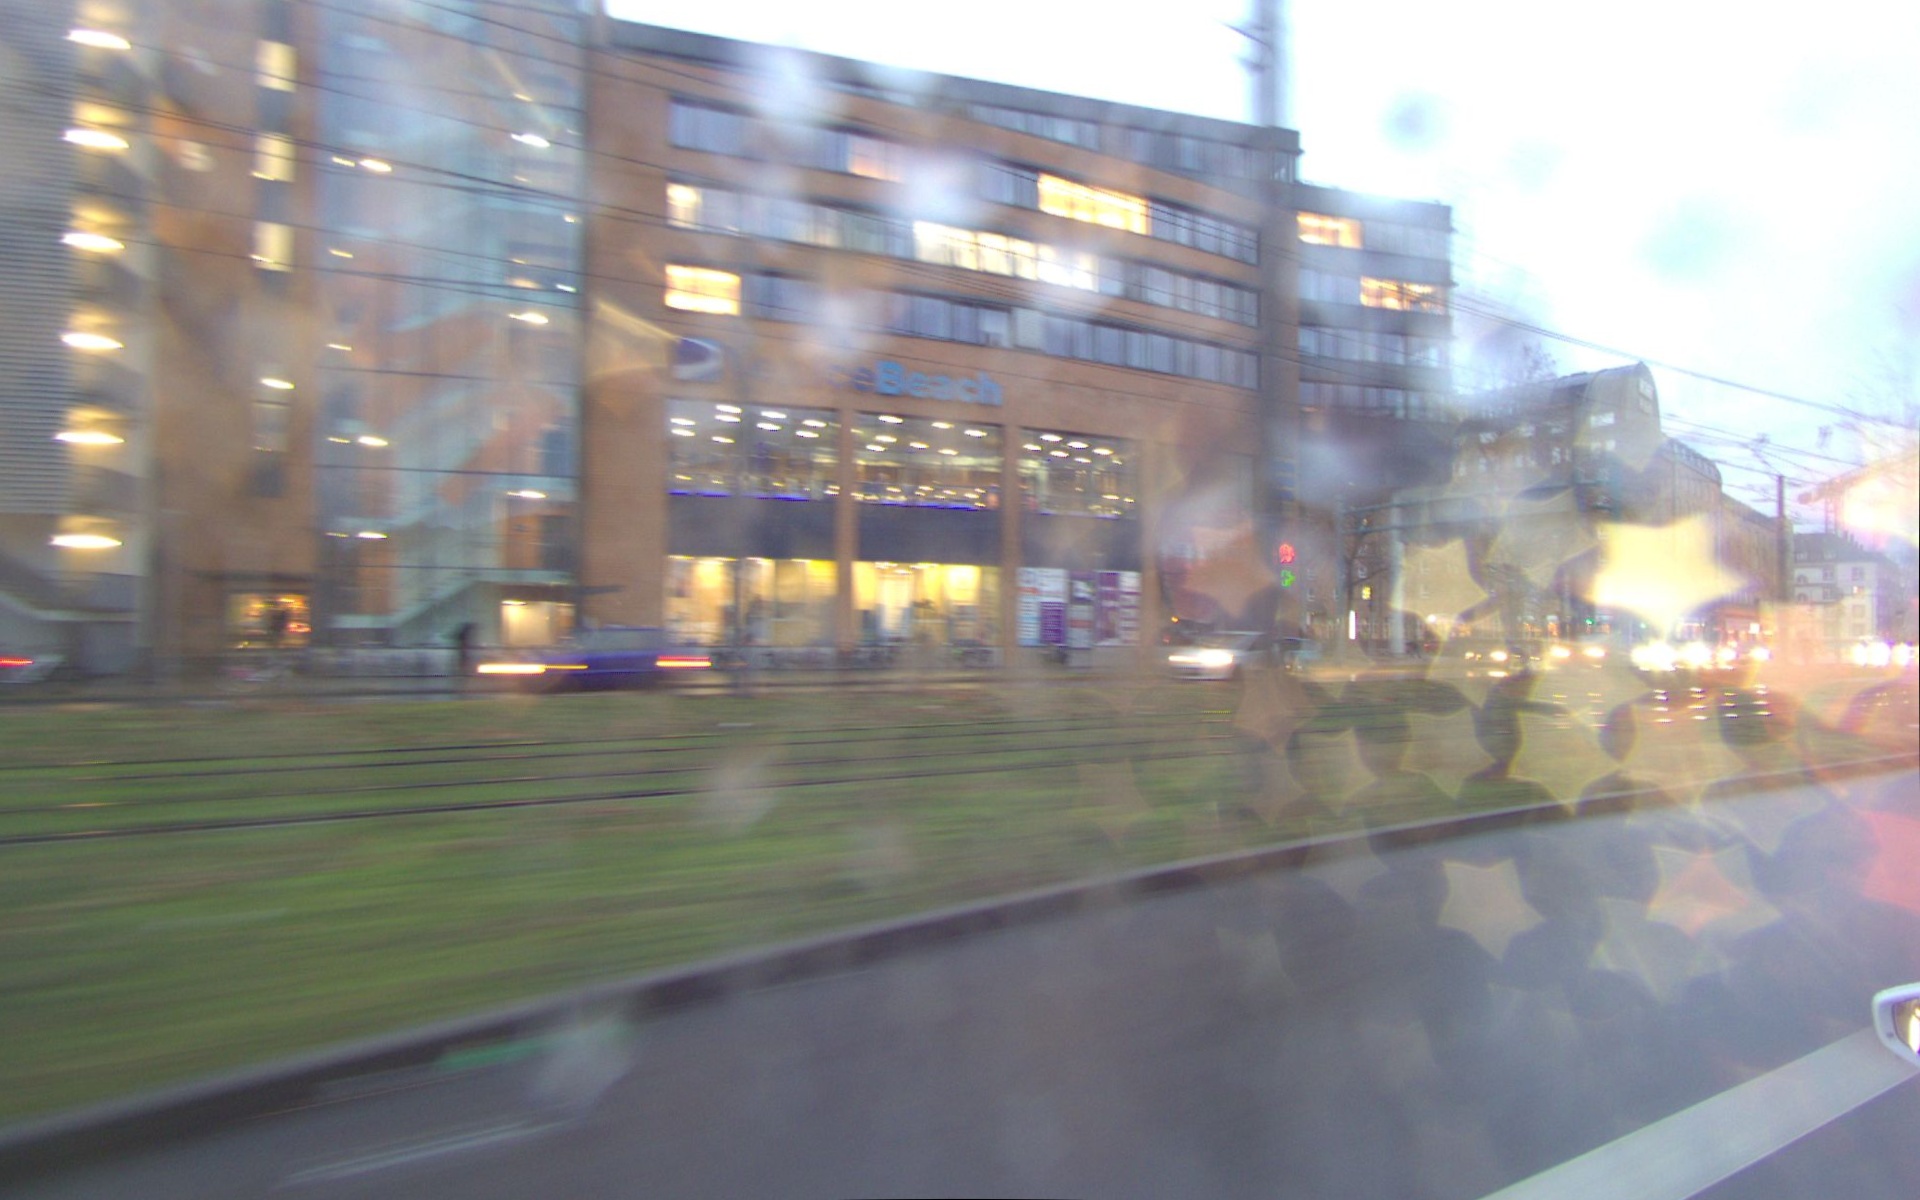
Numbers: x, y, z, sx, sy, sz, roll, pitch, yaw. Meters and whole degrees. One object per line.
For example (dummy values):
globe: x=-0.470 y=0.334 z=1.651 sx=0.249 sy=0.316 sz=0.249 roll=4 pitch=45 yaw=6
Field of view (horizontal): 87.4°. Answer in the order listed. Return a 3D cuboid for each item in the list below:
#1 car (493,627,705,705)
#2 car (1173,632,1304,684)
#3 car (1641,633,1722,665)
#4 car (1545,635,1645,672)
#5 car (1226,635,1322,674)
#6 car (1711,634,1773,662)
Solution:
car: x=-7.360 y=1.295 z=20.488 sx=3.904 sy=1.461 sz=1.809 roll=1 pitch=-2 yaw=-26
car: x=7.942 y=1.661 z=28.590 sx=3.609 sy=1.390 sz=1.499 roll=2 pitch=-2 yaw=-30
car: x=34.730 y=2.354 z=48.311 sx=4.274 sy=1.469 sz=1.980 roll=2 pitch=-2 yaw=-36
car: x=25.313 y=2.112 z=40.039 sx=4.151 sy=1.411 sz=1.720 roll=2 pitch=-2 yaw=-31
car: x=11.784 y=2.023 z=37.659 sx=3.506 sy=1.420 sz=1.499 roll=1 pitch=-2 yaw=-30
car: x=44.022 y=2.691 z=56.520 sx=3.581 sy=1.469 sz=1.624 roll=2 pitch=-2 yaw=-32
